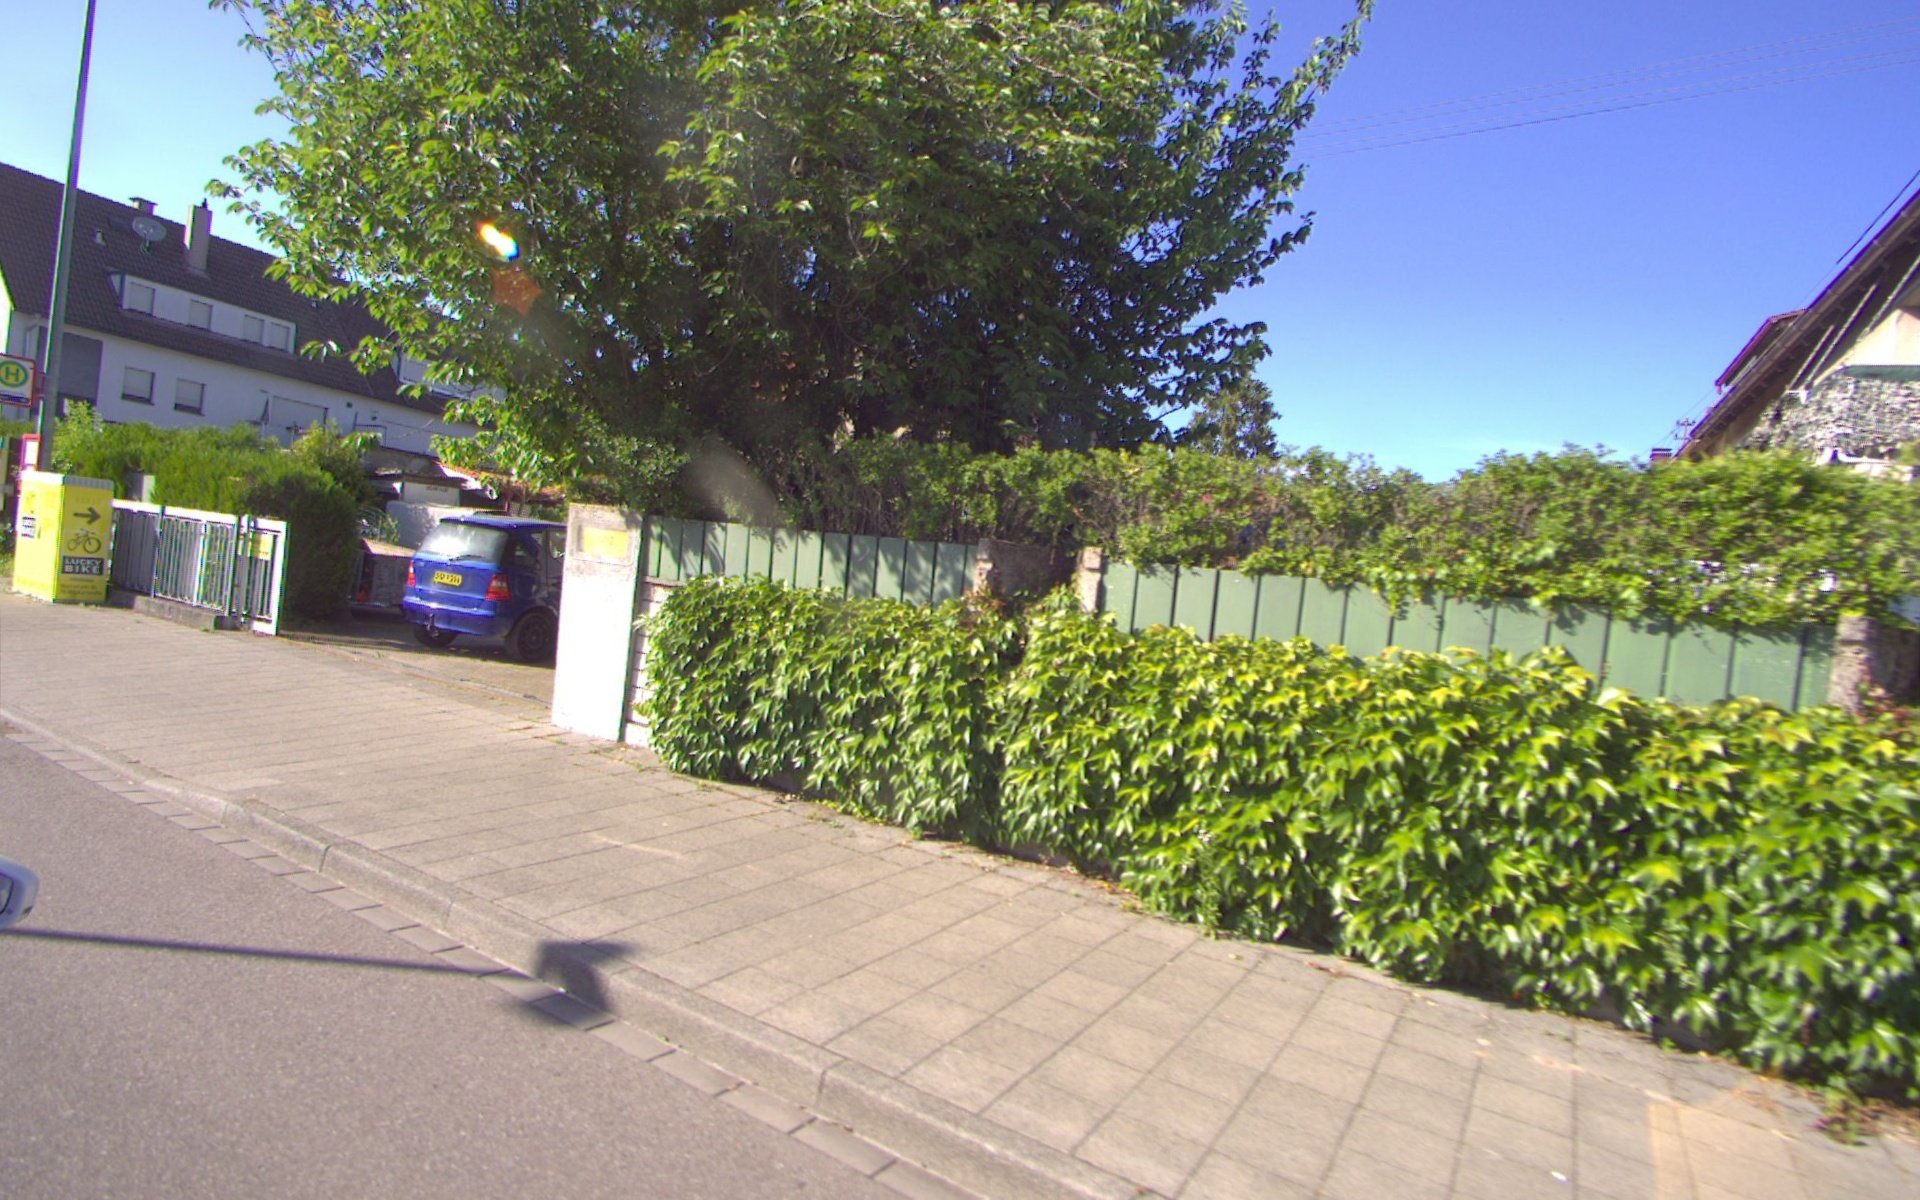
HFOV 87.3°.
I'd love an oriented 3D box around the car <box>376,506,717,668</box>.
[{"bbox_3d":[-4.963,-0.113,12.656,1.720,1.590,3.769,7,1,22],"label":"car"}]
